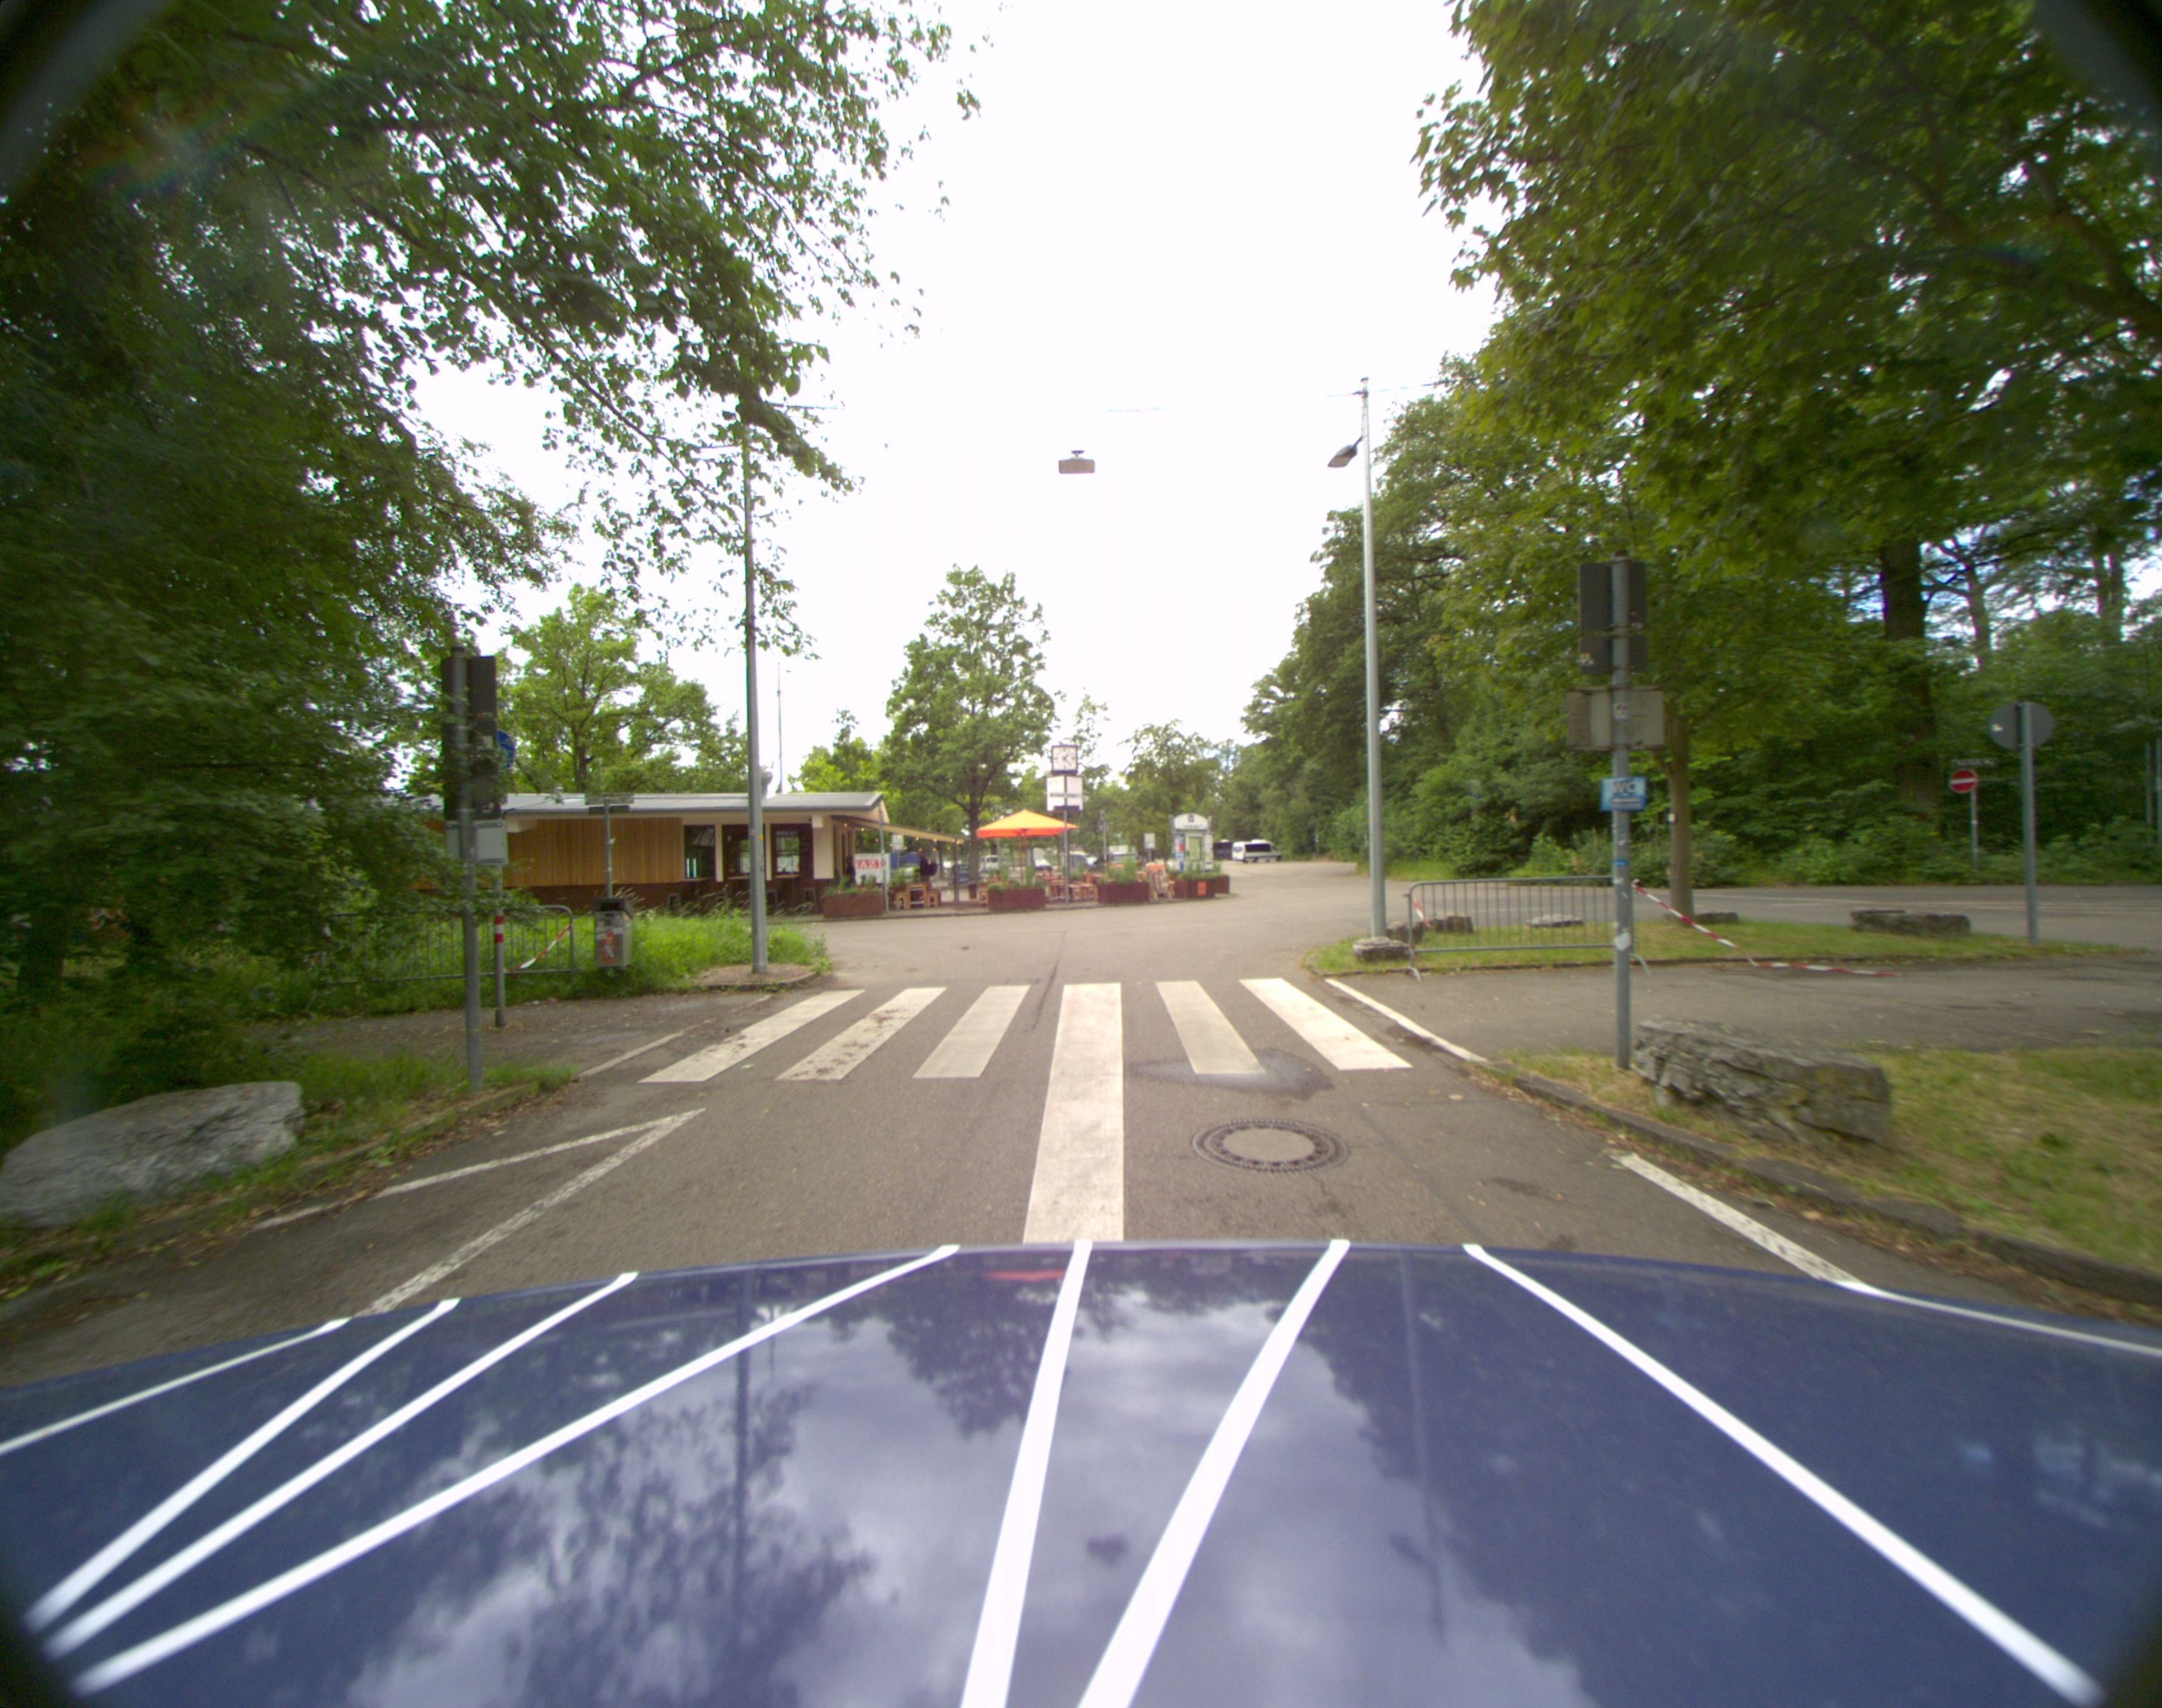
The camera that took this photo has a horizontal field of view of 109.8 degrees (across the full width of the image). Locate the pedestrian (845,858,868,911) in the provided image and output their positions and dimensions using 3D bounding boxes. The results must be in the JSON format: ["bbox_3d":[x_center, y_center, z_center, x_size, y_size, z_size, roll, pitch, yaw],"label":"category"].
[{"bbox_3d":[-7.193,0.977,24.355,0.531,1.657,0.595,-2,0,-7],"label":"pedestrian"}]

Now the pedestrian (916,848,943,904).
[{"bbox_3d":[-5.018,0.729,25.184,0.750,1.820,0.710,-2,0,-6],"label":"pedestrian"}]

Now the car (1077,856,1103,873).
[{"bbox_3d":[0.989,1.157,85.677,1.878,1.769,4.290,-2,0,-14],"label":"car"}]

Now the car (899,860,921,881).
[{"bbox_3d":[-17.074,1.595,75.746,2.001,2.002,3.995,-2,0,-14],"label":"car"}]

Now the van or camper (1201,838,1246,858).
[{"bbox_3d":[22.815,-0.958,121.472,7.352,2.833,2.199,-2,1,-33],"label":"van or camper"}]

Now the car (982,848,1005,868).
[{"bbox_3d":[-9.648,0.456,83.273,1.878,2.027,4.585,-2,0,-14],"label":"car"}]

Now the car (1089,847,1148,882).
[{"bbox_3d":[1.873,0.538,39.818,1.936,1.660,4.340,-2,0,-13],"label":"car"}]

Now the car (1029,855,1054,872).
[{"bbox_3d":[-4.433,1.046,84.241,1.878,1.769,4.290,-2,0,-14],"label":"car"}]

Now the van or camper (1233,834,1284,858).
[{"bbox_3d":[22.748,-1.014,97.337,7.353,2.833,2.063,-2,1,-37],"label":"van or camper"}]

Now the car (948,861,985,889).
[{"bbox_3d":[-6.907,1.221,45.524,2.000,1.543,3.996,-2,0,-11],"label":"car"}]
